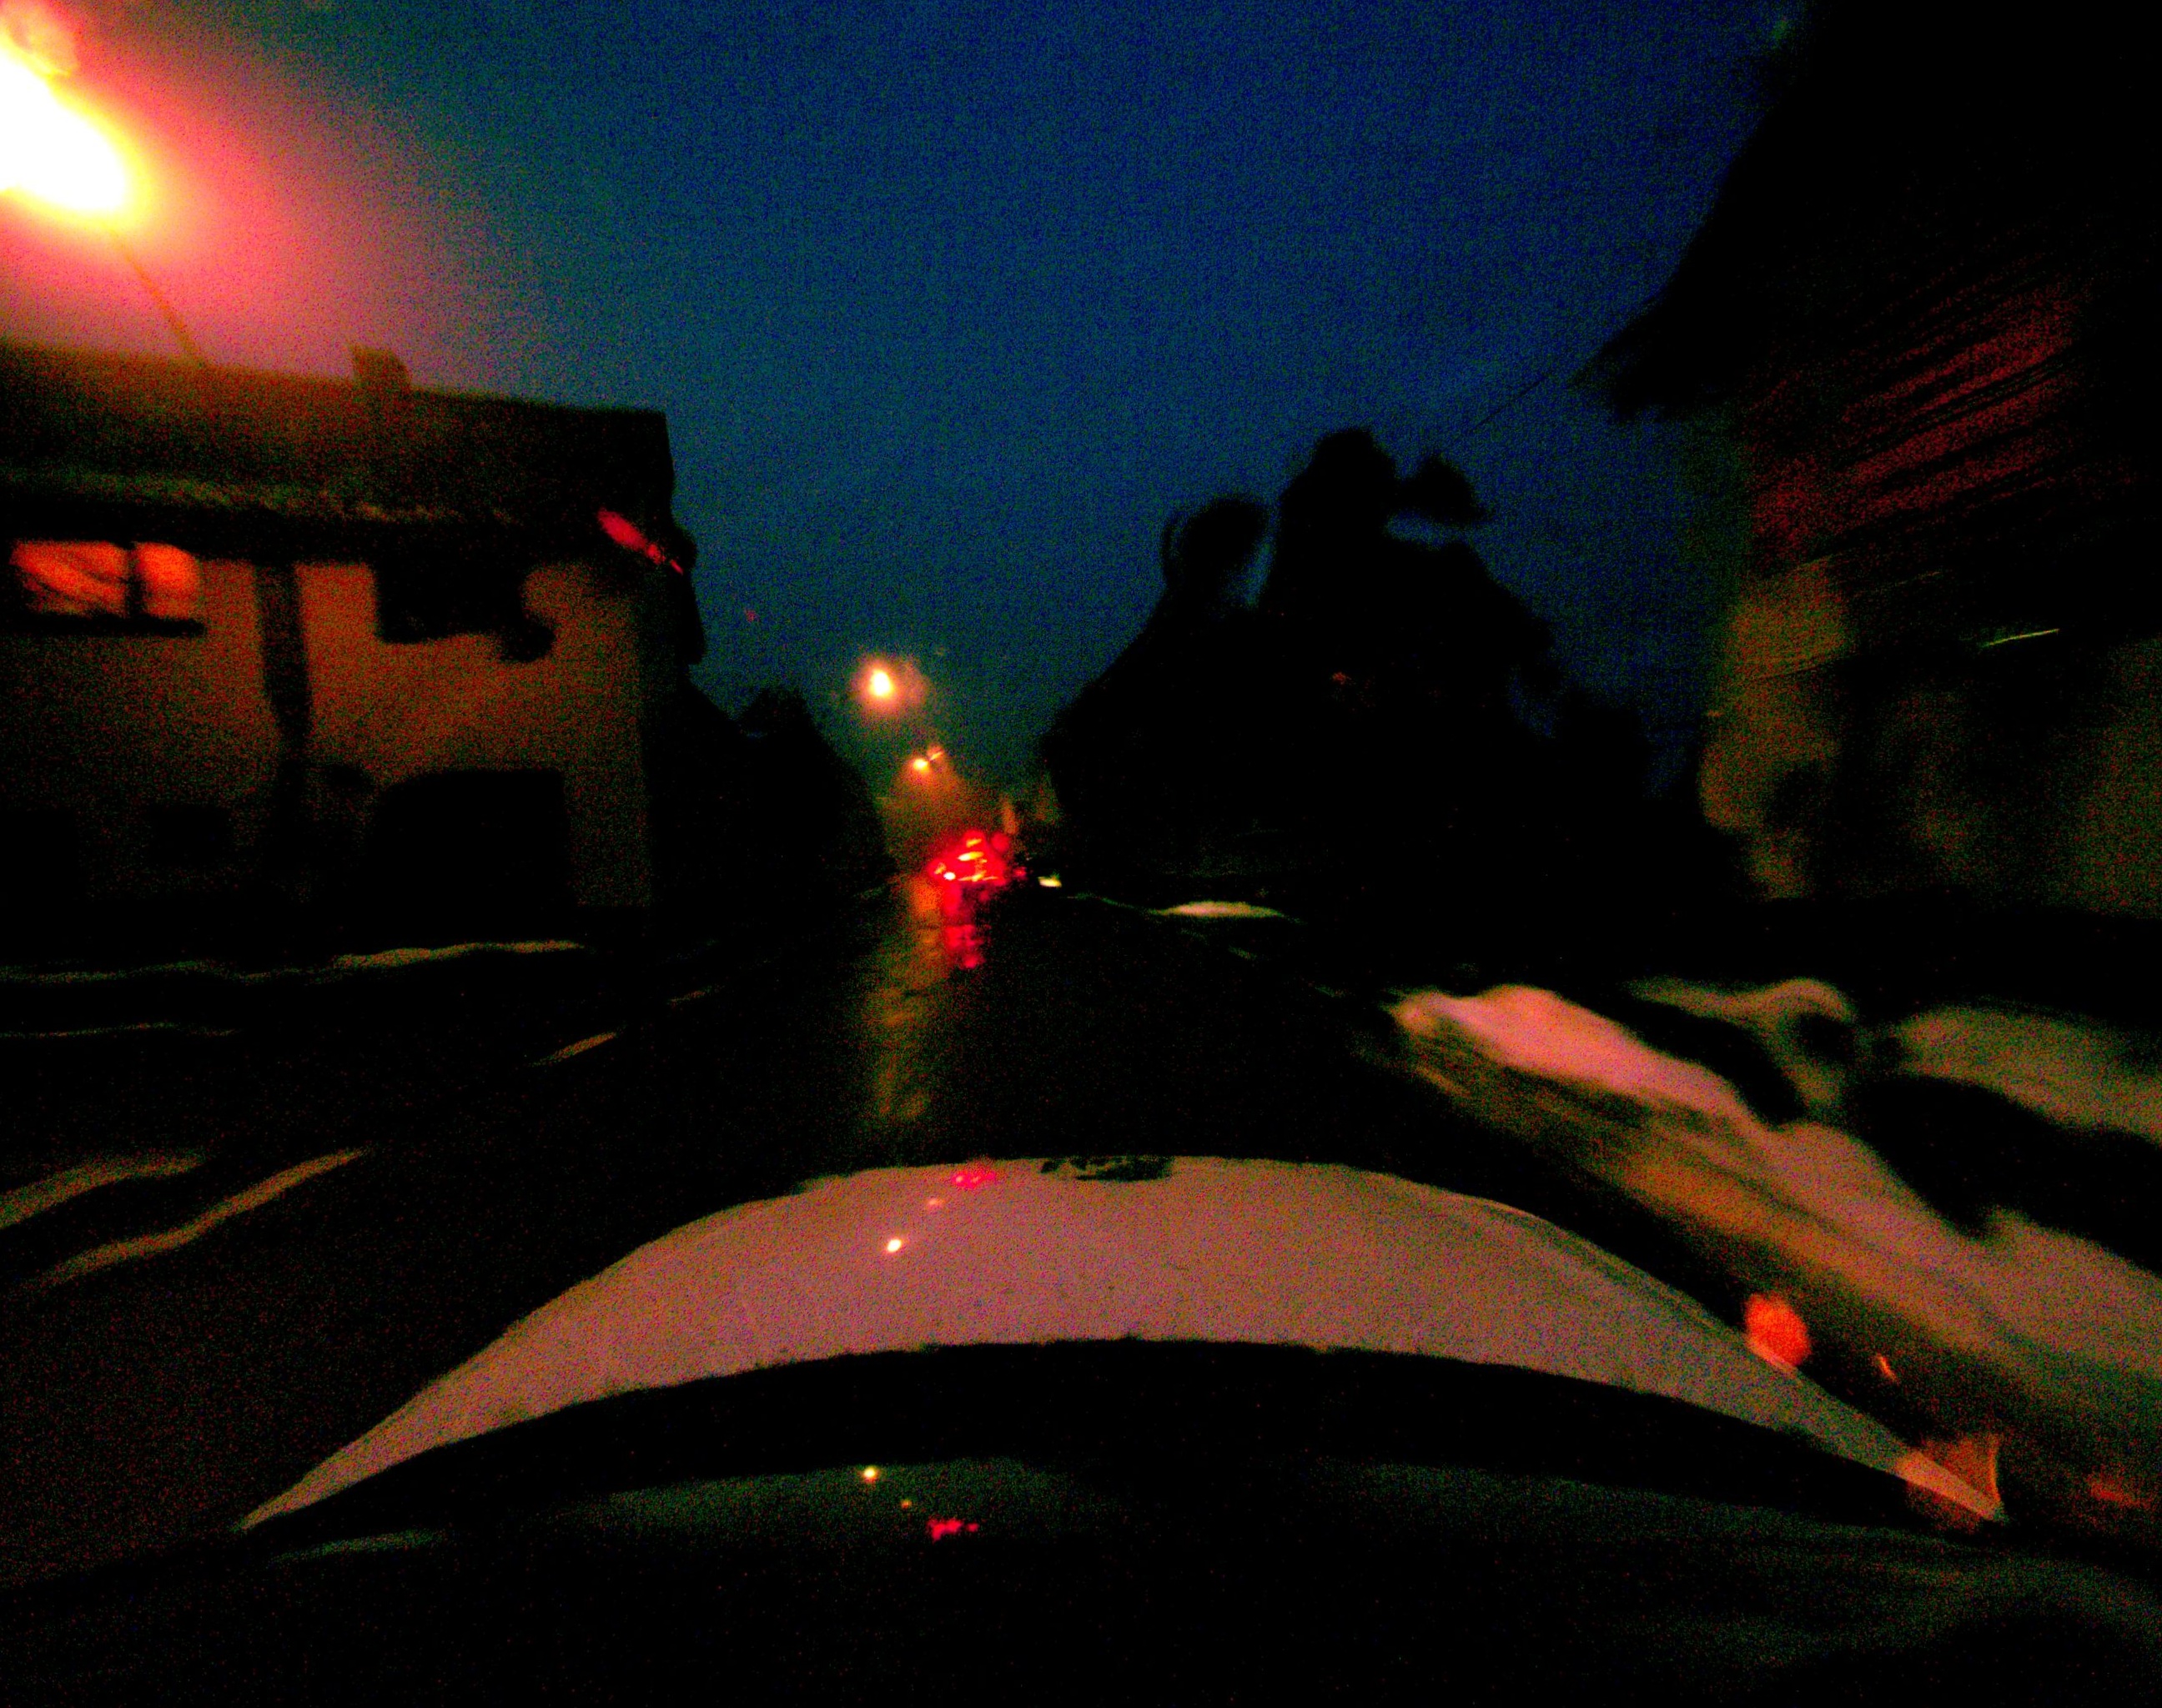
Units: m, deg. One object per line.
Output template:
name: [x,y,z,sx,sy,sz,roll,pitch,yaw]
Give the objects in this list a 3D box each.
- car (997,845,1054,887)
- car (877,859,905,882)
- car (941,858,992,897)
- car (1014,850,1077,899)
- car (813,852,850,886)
car: [-2.321,0.475,33.069,1.909,1.481,4.270,-3,0,-8]
car: [-14.540,1.262,62.409,1.996,1.522,4.172,-1,1,-13]
car: [-4.772,0.960,34.290,1.992,1.508,3.990,-1,-1,-7]
car: [-1.286,0.690,27.882,1.716,1.500,3.894,-1,-1,-9]
car: [-13.607,0.859,44.547,1.768,1.737,4.613,1,-2,-16]
